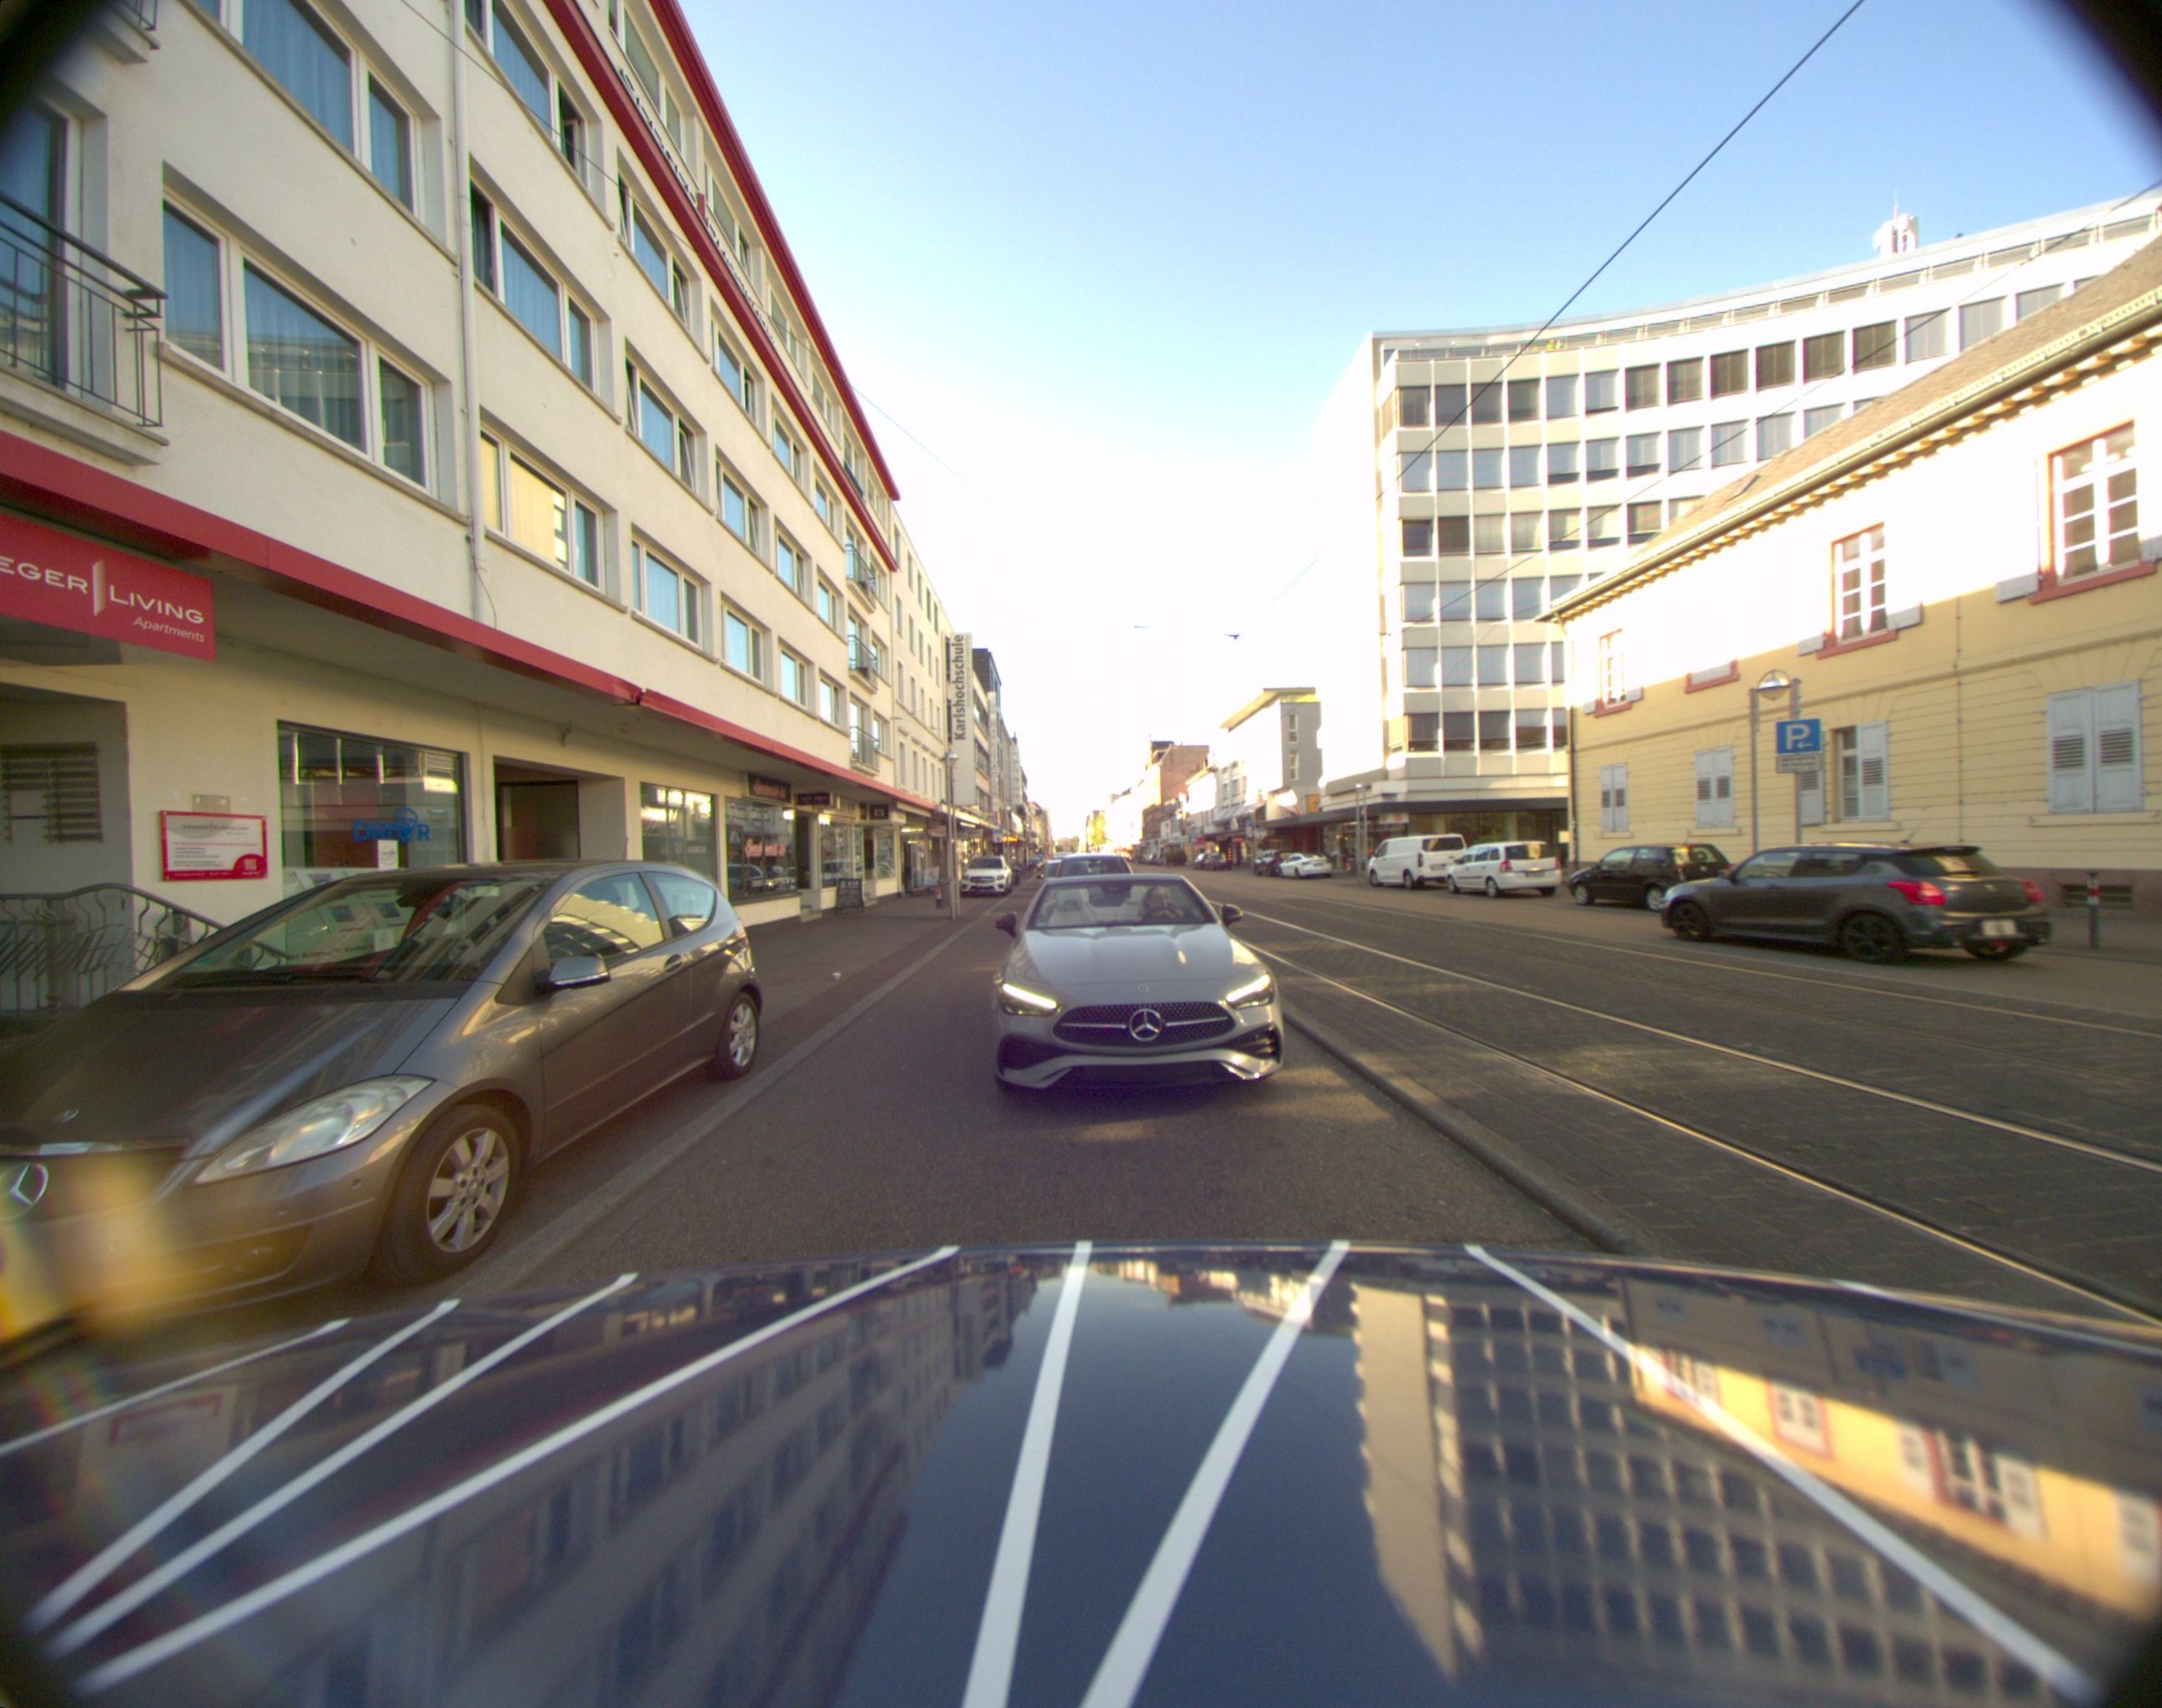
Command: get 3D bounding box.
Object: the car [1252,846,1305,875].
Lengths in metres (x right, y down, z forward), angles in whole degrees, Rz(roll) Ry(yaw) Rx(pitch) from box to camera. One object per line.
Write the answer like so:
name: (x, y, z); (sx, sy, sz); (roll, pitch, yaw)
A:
car: (12.302, 0.390, 47.570); (1.931, 1.632, 4.280); (-4, 1, -3)

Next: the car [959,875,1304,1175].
car: (0.265, 1.000, 6.521); (1.869, 1.431, 4.773); (0, 1, 0)

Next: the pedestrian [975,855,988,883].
pedestrian: (-6.548, 0.958, 49.826); (0.706, 1.807, 0.807); (-2, 1, -3)

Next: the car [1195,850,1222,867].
car: (11.860, 0.397, 70.973); (1.786, 1.511, 3.832); (-2, 1, -1)

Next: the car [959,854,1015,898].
car: (-3.806, 0.841, 31.381); (1.783, 1.654, 4.162); (0, 1, 0)

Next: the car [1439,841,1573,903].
car: (12.777, 0.482, 23.188); (1.781, 1.611, 4.175); (-3, 1, 2)

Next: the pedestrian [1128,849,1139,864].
pedestrian: (6.455, 0.324, 93.638); (1.008, 1.811, 1.034); (-2, 1, 29)

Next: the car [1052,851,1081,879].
car: (-0.859, 0.638, 46.559); (1.737, 1.654, 3.960); (0, 1, 0)

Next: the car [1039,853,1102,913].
car: (-0.321, 0.831, 23.663); (1.783, 1.654, 3.960); (0, 1, 0)

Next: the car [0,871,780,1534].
car: (-3.223, 0.939, 3.901); (1.781, 1.560, 3.960); (0, 1, 0)

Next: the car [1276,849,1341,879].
car: (12.541, 0.500, 42.150); (1.931, 1.444, 4.291); (-4, 1, -5)

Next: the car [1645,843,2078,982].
car: (10.060, 0.639, 10.311); (1.782, 1.500, 3.858); (-1, 0, -4)

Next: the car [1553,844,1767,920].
car: (12.911, 0.535, 17.308); (1.781, 1.431, 3.960); (-3, 1, 0)

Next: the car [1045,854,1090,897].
car: (-0.536, 0.841, 31.947); (1.737, 1.654, 3.960); (0, 1, 0)

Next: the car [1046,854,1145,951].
car: (0.239, 0.853, 15.418); (1.737, 1.654, 3.960); (0, 1, 0)

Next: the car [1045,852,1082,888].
car: (-0.833, 0.754, 37.403); (1.737, 1.654, 3.781); (0, 1, 0)

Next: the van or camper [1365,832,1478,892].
van or camper: (12.728, 0.248, 28.808); (1.960, 1.962, 4.796); (-3, 1, -2)

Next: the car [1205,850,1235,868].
car: (11.949, 0.388, 65.482); (1.786, 1.408, 3.596); (-2, 1, -2)
